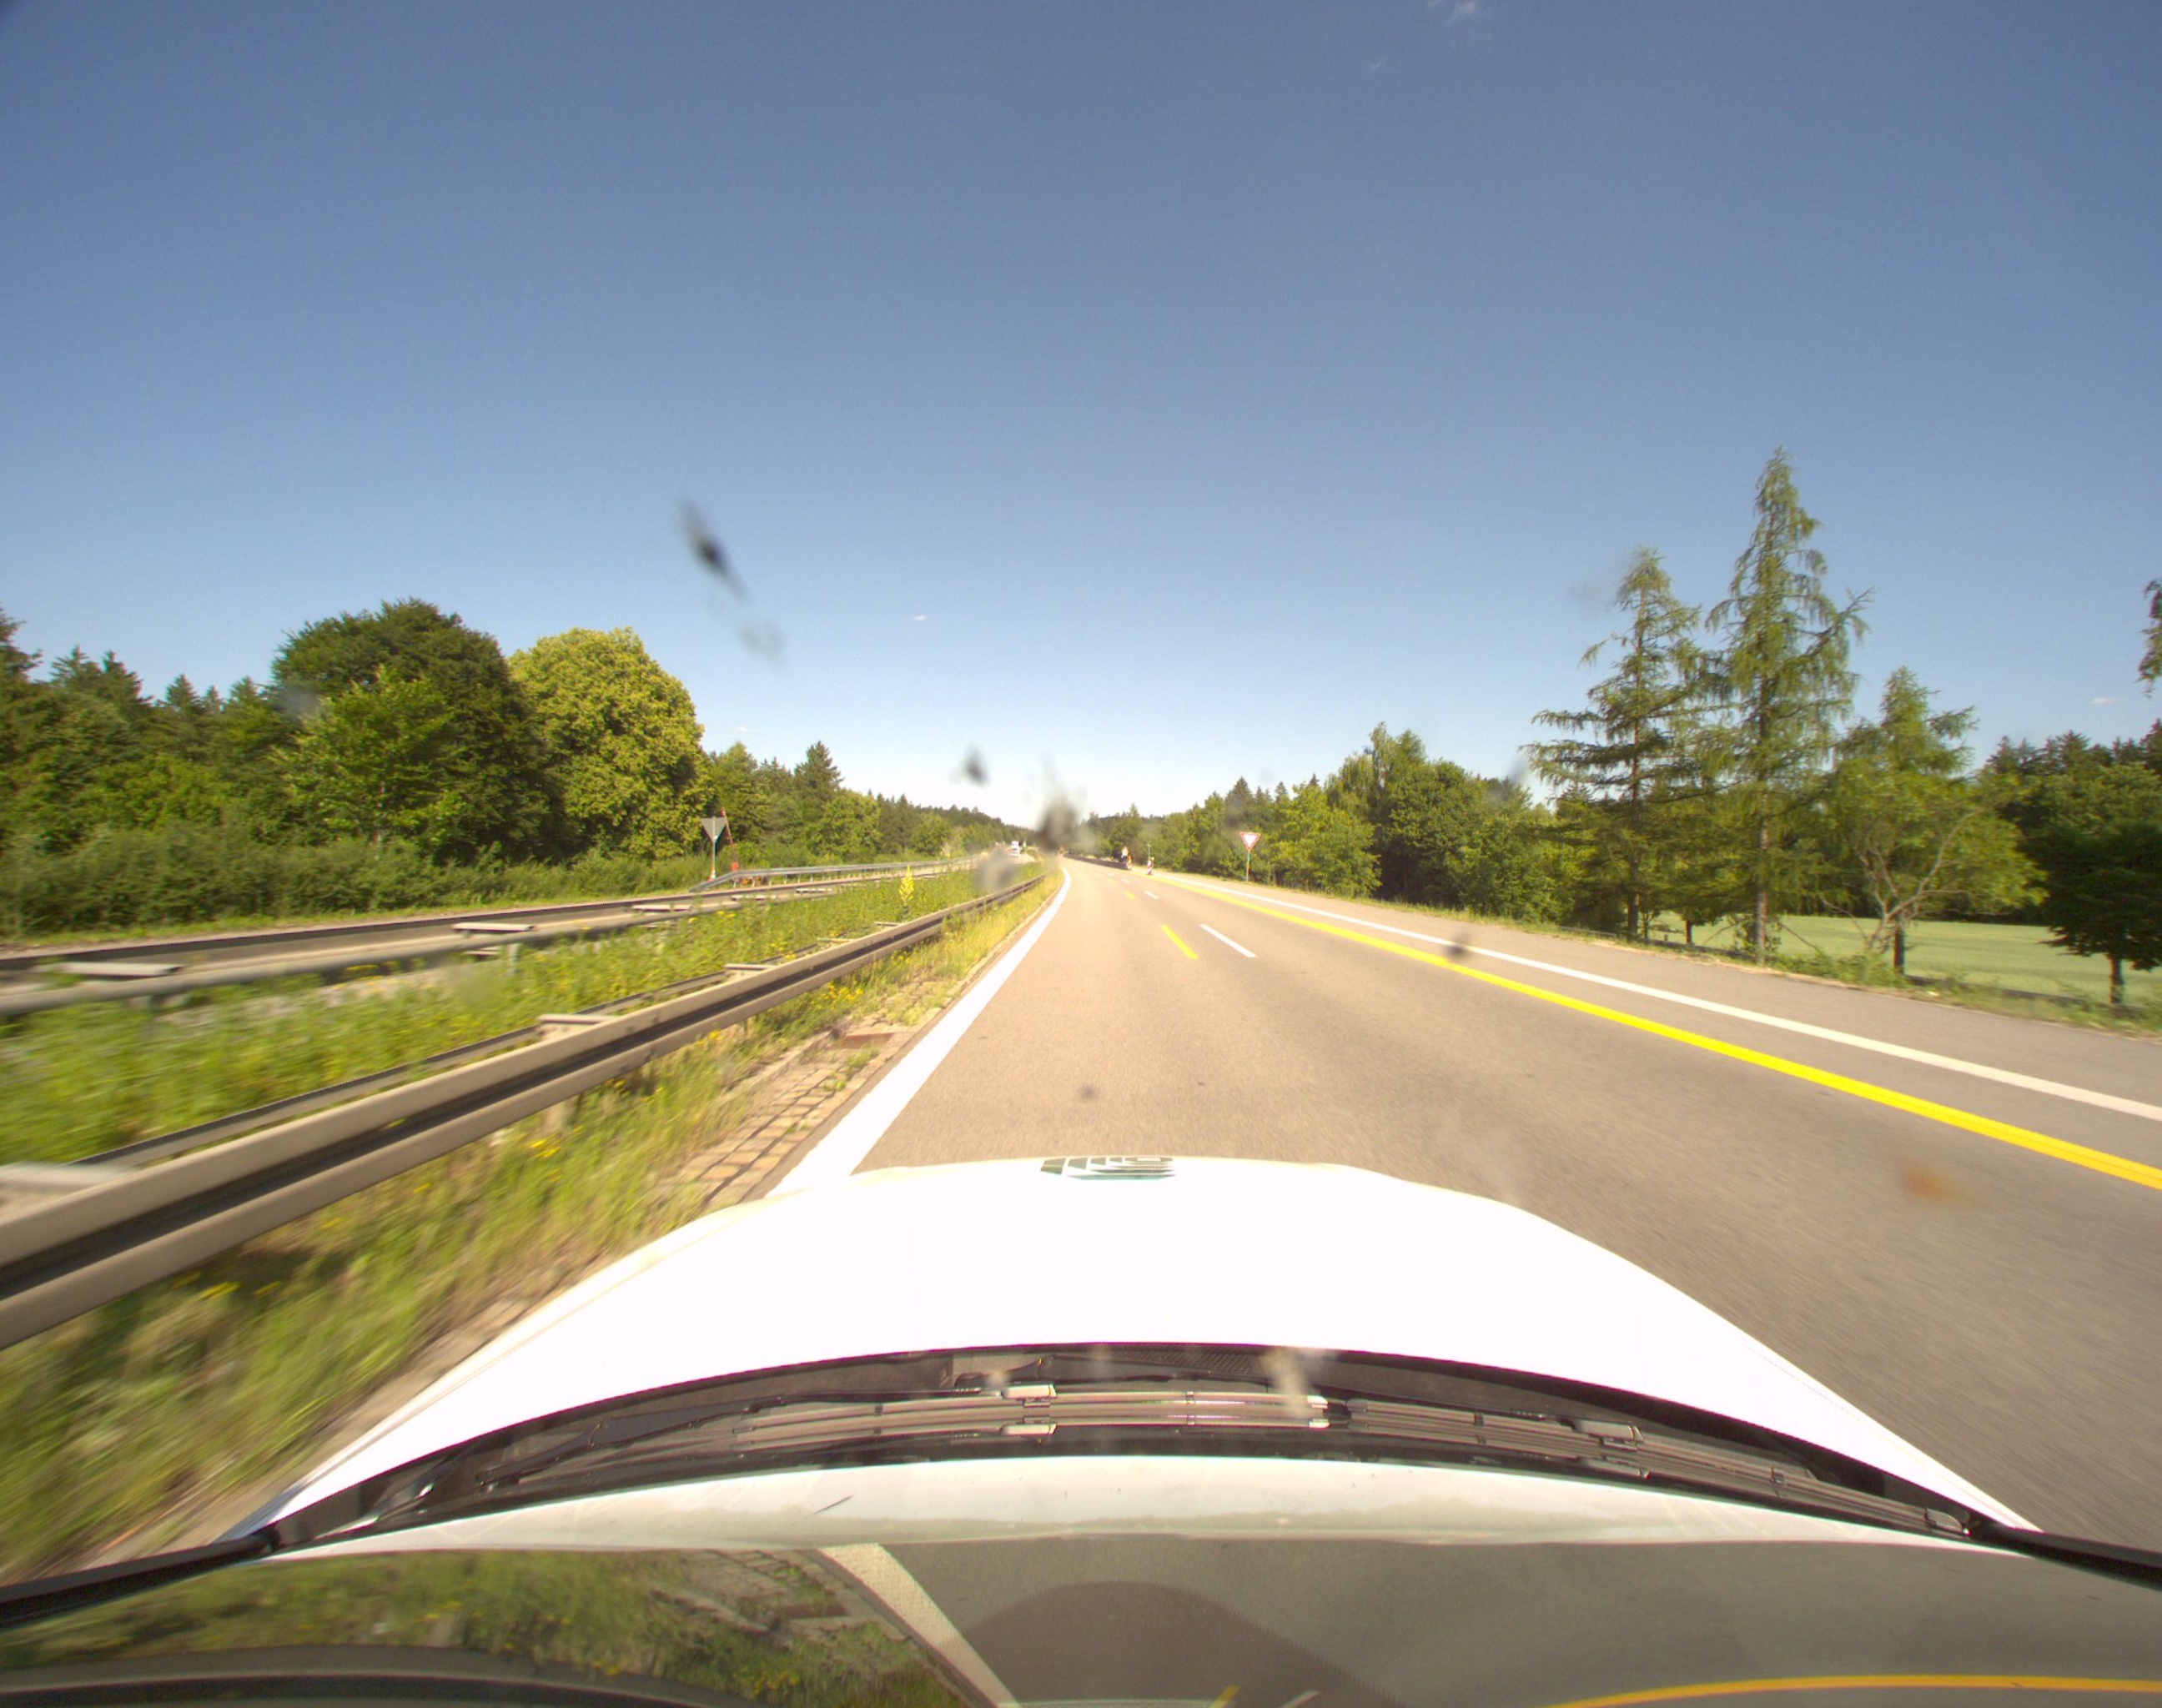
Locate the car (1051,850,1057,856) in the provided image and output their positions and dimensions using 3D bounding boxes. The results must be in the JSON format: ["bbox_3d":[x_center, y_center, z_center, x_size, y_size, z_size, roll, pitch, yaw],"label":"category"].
[{"bbox_3d":[-8.166,-0.313,247.734,1.741,1.466,4.287,2,0,-5],"label":"car"}]

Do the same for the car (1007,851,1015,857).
[{"bbox_3d":[-16.976,-0.021,198.647,1.879,1.432,4.977,1,0,-4],"label":"car"}]

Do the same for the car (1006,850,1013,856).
[{"bbox_3d":[-18.906,-0.197,215.367,1.698,1.432,4.949,-1,1,-4],"label":"car"}]

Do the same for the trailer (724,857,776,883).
[{"bbox_3d":[-15.482,0.726,38.268,0.990,1.053,3.423,4,0,0],"label":"trailer"}]
